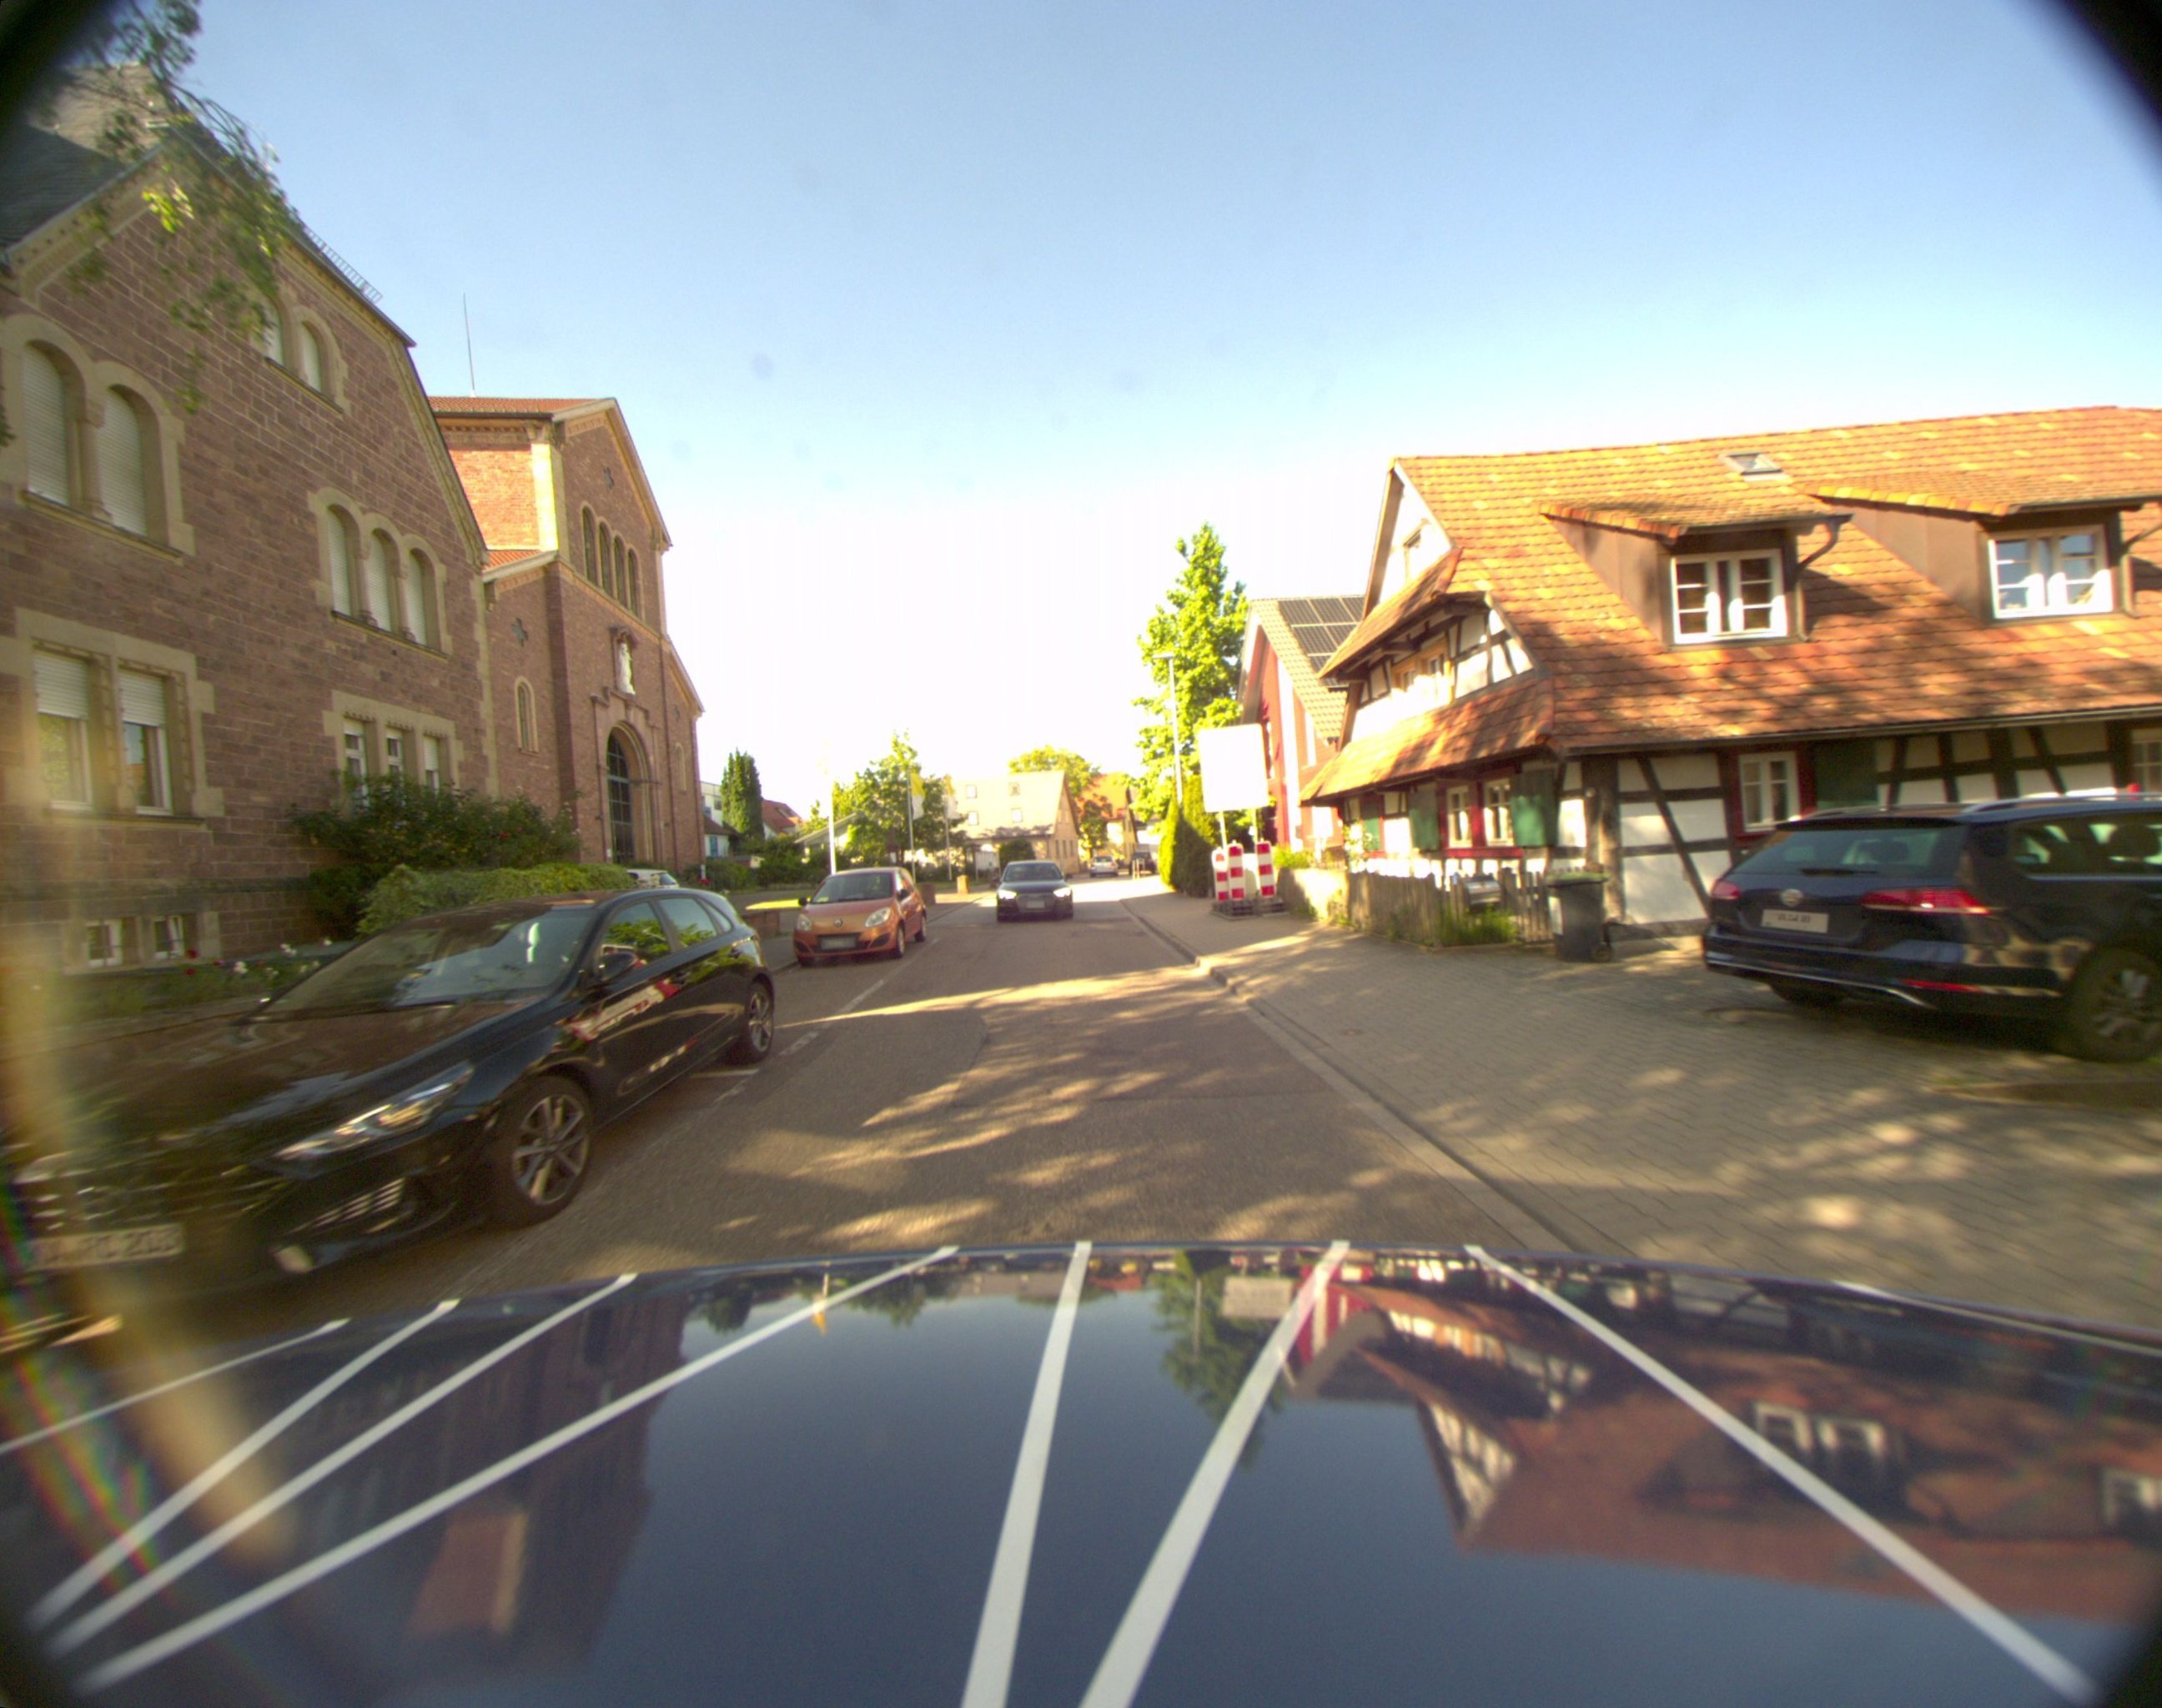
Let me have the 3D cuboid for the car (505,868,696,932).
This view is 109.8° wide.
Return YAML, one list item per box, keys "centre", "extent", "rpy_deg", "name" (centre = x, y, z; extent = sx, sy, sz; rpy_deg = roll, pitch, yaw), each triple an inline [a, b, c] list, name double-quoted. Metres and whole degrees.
- centre: [-12.912, 1.193, 20.673]
  extent: [3.910, 1.488, 1.902]
  rpy_deg: [-1, 2, -8]
  name: "car"

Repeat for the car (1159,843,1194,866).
- centre: [7.918, 0.037, 62.815]
  extent: [1.834, 1.779, 4.359]
  rpy_deg: [-1, 1, 21]
  name: "car"

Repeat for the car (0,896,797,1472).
- centre: [-3.326, 1.144, 4.421]
  extent: [1.812, 1.427, 4.284]
  rpy_deg: [-5, 0, -3]
  name: "car"

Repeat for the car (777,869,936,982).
- centre: [-3.678, 1.088, 13.152]
  extent: [1.653, 1.470, 3.932]
  rpy_deg: [-5, 0, -3]
  name: "car"

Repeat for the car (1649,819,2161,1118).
- centre: [6.404, 0.527, 4.935]
  extent: [4.171, 1.453, 1.847]
  rpy_deg: [-2, 0, -6]
  name: "car"

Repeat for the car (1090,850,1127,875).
- centre: [1.828, 0.528, 49.073]
  extent: [1.673, 1.394, 3.895]
  rpy_deg: [-3, 0, 13]
  name: "car"

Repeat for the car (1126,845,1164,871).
- centre: [4.430, 0.268, 51.950]
  extent: [1.835, 1.661, 4.357]
  rpy_deg: [-1, 0, 15]
  name: "car"

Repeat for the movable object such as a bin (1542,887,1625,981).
- centre: [5.157, 0.809, 7.821]
  extent: [0.584, 0.892, 0.556]
  rpy_deg: [-1, 1, 19]
  name: "movable object such as a bin"

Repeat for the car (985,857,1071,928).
- centre: [-1.208, 0.869, 19.001]
  extent: [1.807, 1.469, 4.343]
  rpy_deg: [-2, 0, 0]
  name: "car"
